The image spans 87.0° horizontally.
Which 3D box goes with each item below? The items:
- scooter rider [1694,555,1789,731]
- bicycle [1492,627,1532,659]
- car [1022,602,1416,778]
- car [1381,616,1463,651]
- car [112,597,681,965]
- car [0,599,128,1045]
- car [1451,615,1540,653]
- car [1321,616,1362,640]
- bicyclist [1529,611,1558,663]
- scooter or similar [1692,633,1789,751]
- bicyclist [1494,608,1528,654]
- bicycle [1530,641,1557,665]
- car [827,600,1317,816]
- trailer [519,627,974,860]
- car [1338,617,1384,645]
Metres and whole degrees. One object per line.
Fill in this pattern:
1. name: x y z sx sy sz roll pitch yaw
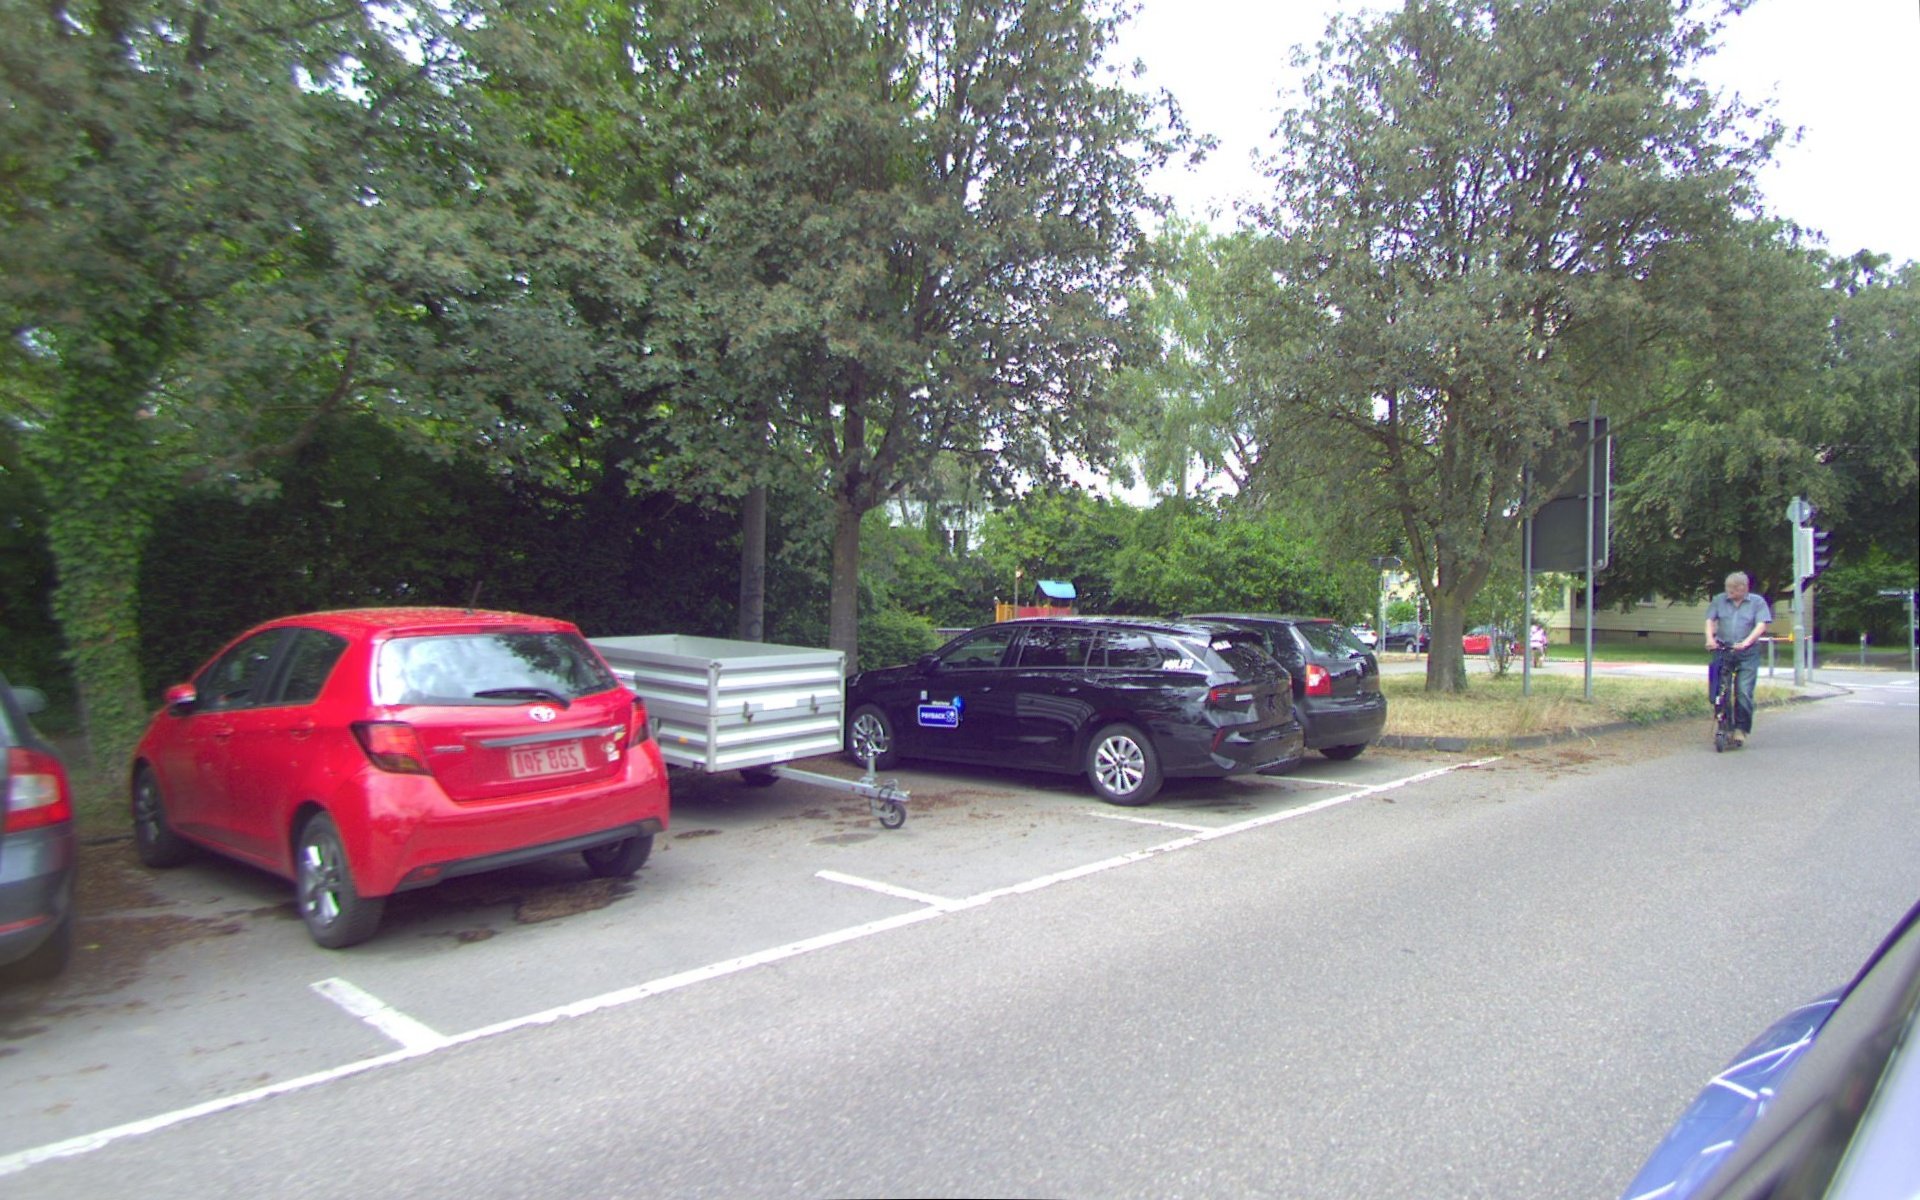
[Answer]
1. scooter rider: 8.329 0.453 10.776 0.681 1.753 1.177 -1 -3 43
2. bicycle: 14.412 1.113 26.474 0.633 0.768 1.670 0 -1 19
3. car: 2.523 0.800 10.490 1.550 1.495 3.718 2 -2 -44
4. car: 21.692 1.577 47.684 1.782 1.612 3.829 0 -2 -6
5. car: -3.355 0.758 5.820 3.514 1.495 1.571 -1 -1 37
6. car: -5.106 0.755 4.366 4.213 1.483 1.611 -1 -1 40
7. car: 22.811 1.453 43.177 1.661 1.526 2.924 3 -3 -26
8. car: 23.728 1.712 63.086 1.768 1.372 4.055 1 0 13
9. bicyclist: 14.233 0.911 24.698 0.514 1.202 0.958 2 -4 27
10. scooter or similar: 8.298 0.943 10.740 0.681 1.154 1.436 -1 -3 43
11. bicyclist: 14.431 0.804 26.522 0.633 1.177 0.798 0 -1 19
12. bicycle: 14.216 1.296 24.668 0.514 0.504 0.978 2 -4 27
13. car: 0.827 0.777 8.946 4.126 1.495 1.554 -1 -1 38
14. trailer: -1.712 0.883 7.617 3.396 1.283 1.593 -1 0 39
15. car: 22.537 1.698 57.005 1.768 1.452 4.055 1 0 13
